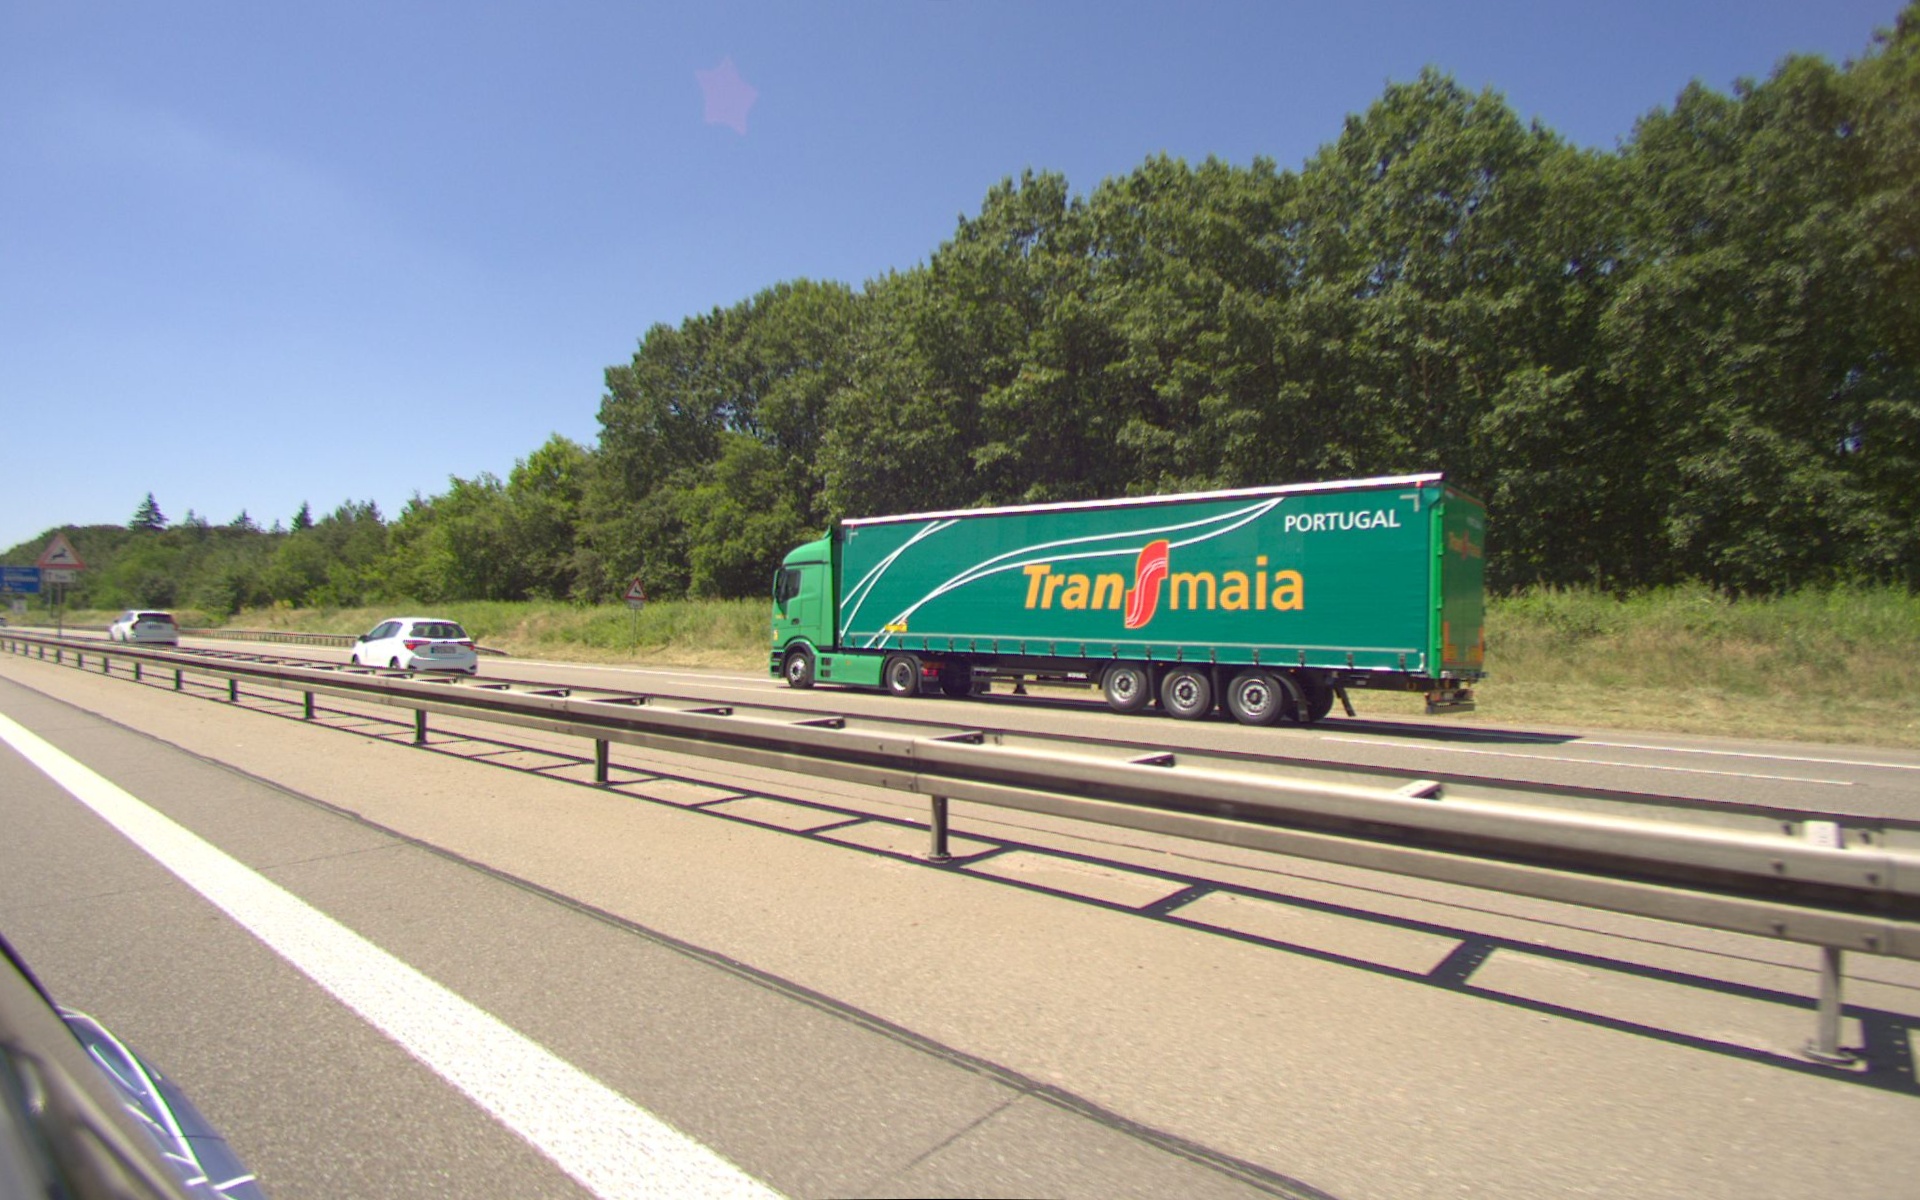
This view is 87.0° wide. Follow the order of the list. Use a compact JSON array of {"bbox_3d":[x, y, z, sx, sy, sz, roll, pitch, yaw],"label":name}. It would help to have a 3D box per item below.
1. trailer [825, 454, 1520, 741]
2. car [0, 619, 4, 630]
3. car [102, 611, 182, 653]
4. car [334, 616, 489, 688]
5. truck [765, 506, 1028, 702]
[{"bbox_3d":[3.055,0.121,20.516,14.333,4.193,2.676,-1,-4,42],"label":"trailer"},{"bbox_3d":[-153.934,3.938,161.419,5.114,1.674,1.684,-1,-5,42],"label":"car"},{"bbox_3d":[-38.004,1.491,46.949,5.560,1.806,1.933,-1,-5,42],"label":"car"},{"bbox_3d":[-12.829,1.177,23.541,4.598,1.512,1.638,-1,-4,42],"label":"car"},{"bbox_3d":[-1.685,0.195,24.768,6.294,4.193,2.672,-1,-4,42],"label":"truck"}]
